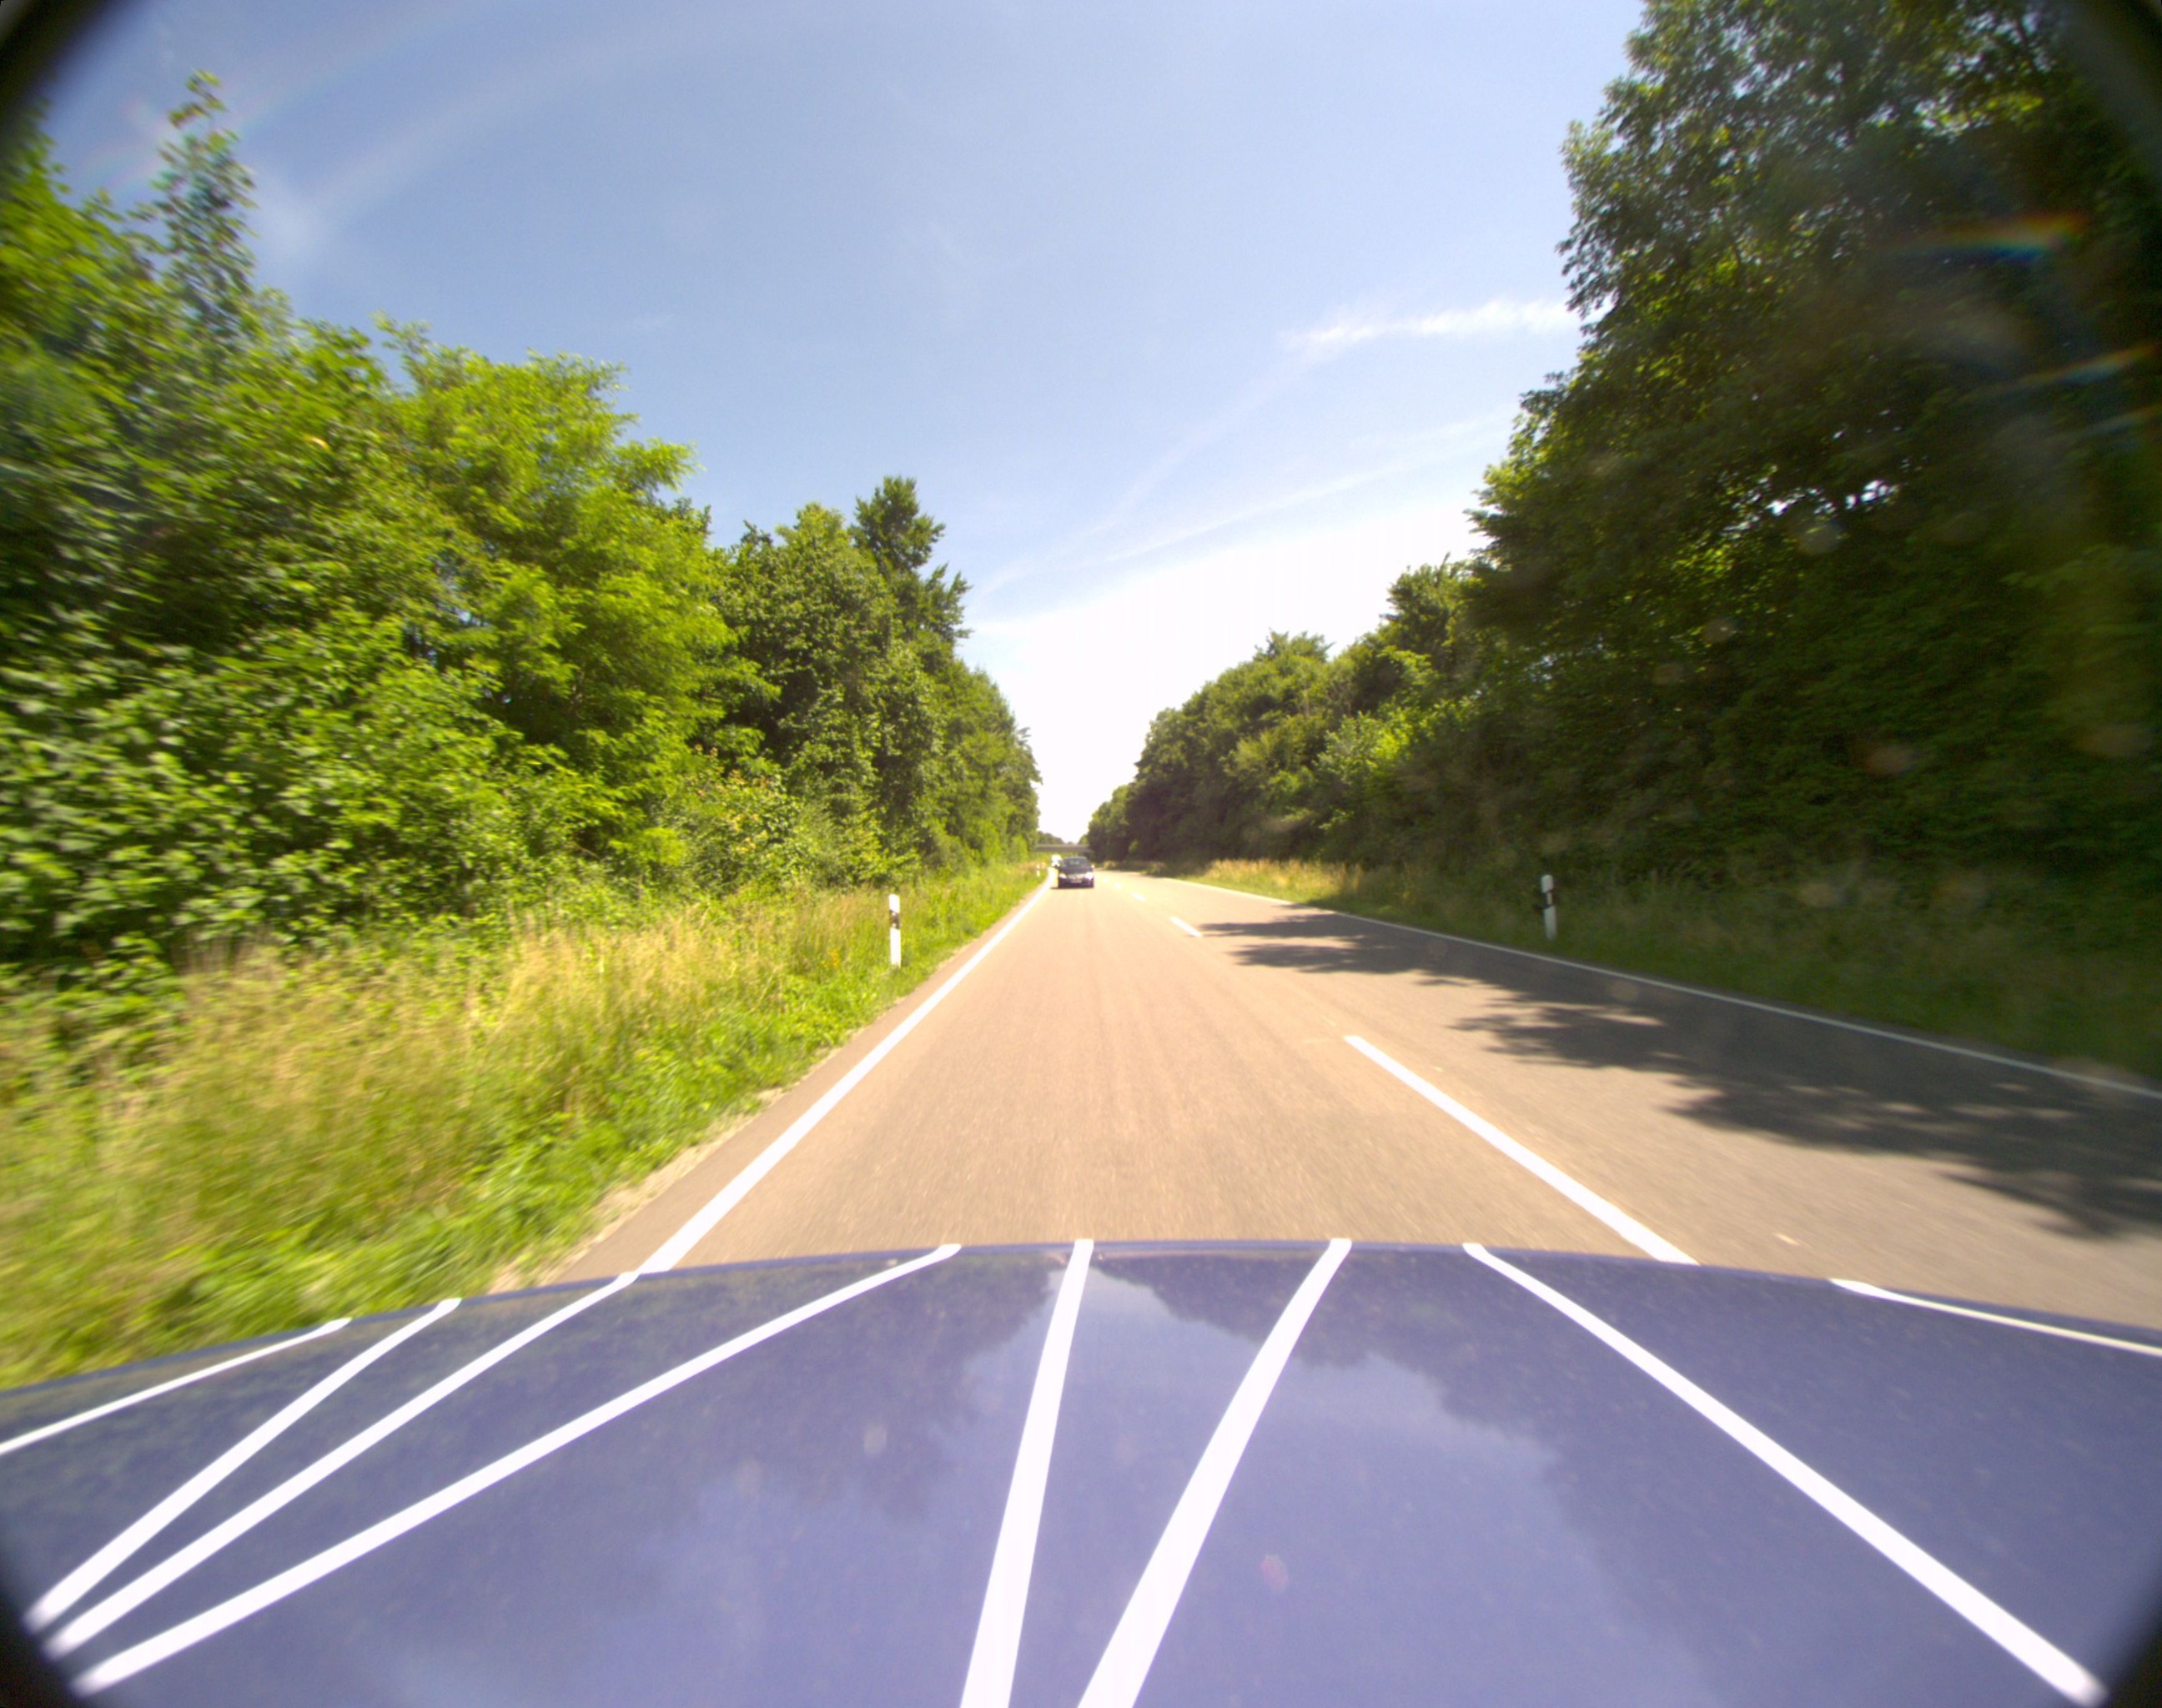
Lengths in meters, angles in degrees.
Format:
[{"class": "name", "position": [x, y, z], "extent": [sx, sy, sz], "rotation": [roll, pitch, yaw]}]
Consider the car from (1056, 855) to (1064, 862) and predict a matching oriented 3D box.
[{"class": "car", "position": [-4.489, 0.995, 164.752], "extent": [1.709, 1.523, 4.778], "rotation": [-2, 0, -2]}]

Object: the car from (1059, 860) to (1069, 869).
[{"class": "car", "position": [-2.925, 1.827, 131.638], "extent": [1.709, 1.523, 4.778], "rotation": [-2, 0, -2]}]

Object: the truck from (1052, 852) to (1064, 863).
[{"class": "truck", "position": [-7.341, 1.088, 238.054], "extent": [2.579, 3.111, 11.192], "rotation": [-2, 0, -7]}]

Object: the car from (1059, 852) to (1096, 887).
[{"class": "car", "position": [-0.203, 0.811, 39.087], "extent": [1.784, 1.675, 4.779], "rotation": [1, -1, -1]}]
